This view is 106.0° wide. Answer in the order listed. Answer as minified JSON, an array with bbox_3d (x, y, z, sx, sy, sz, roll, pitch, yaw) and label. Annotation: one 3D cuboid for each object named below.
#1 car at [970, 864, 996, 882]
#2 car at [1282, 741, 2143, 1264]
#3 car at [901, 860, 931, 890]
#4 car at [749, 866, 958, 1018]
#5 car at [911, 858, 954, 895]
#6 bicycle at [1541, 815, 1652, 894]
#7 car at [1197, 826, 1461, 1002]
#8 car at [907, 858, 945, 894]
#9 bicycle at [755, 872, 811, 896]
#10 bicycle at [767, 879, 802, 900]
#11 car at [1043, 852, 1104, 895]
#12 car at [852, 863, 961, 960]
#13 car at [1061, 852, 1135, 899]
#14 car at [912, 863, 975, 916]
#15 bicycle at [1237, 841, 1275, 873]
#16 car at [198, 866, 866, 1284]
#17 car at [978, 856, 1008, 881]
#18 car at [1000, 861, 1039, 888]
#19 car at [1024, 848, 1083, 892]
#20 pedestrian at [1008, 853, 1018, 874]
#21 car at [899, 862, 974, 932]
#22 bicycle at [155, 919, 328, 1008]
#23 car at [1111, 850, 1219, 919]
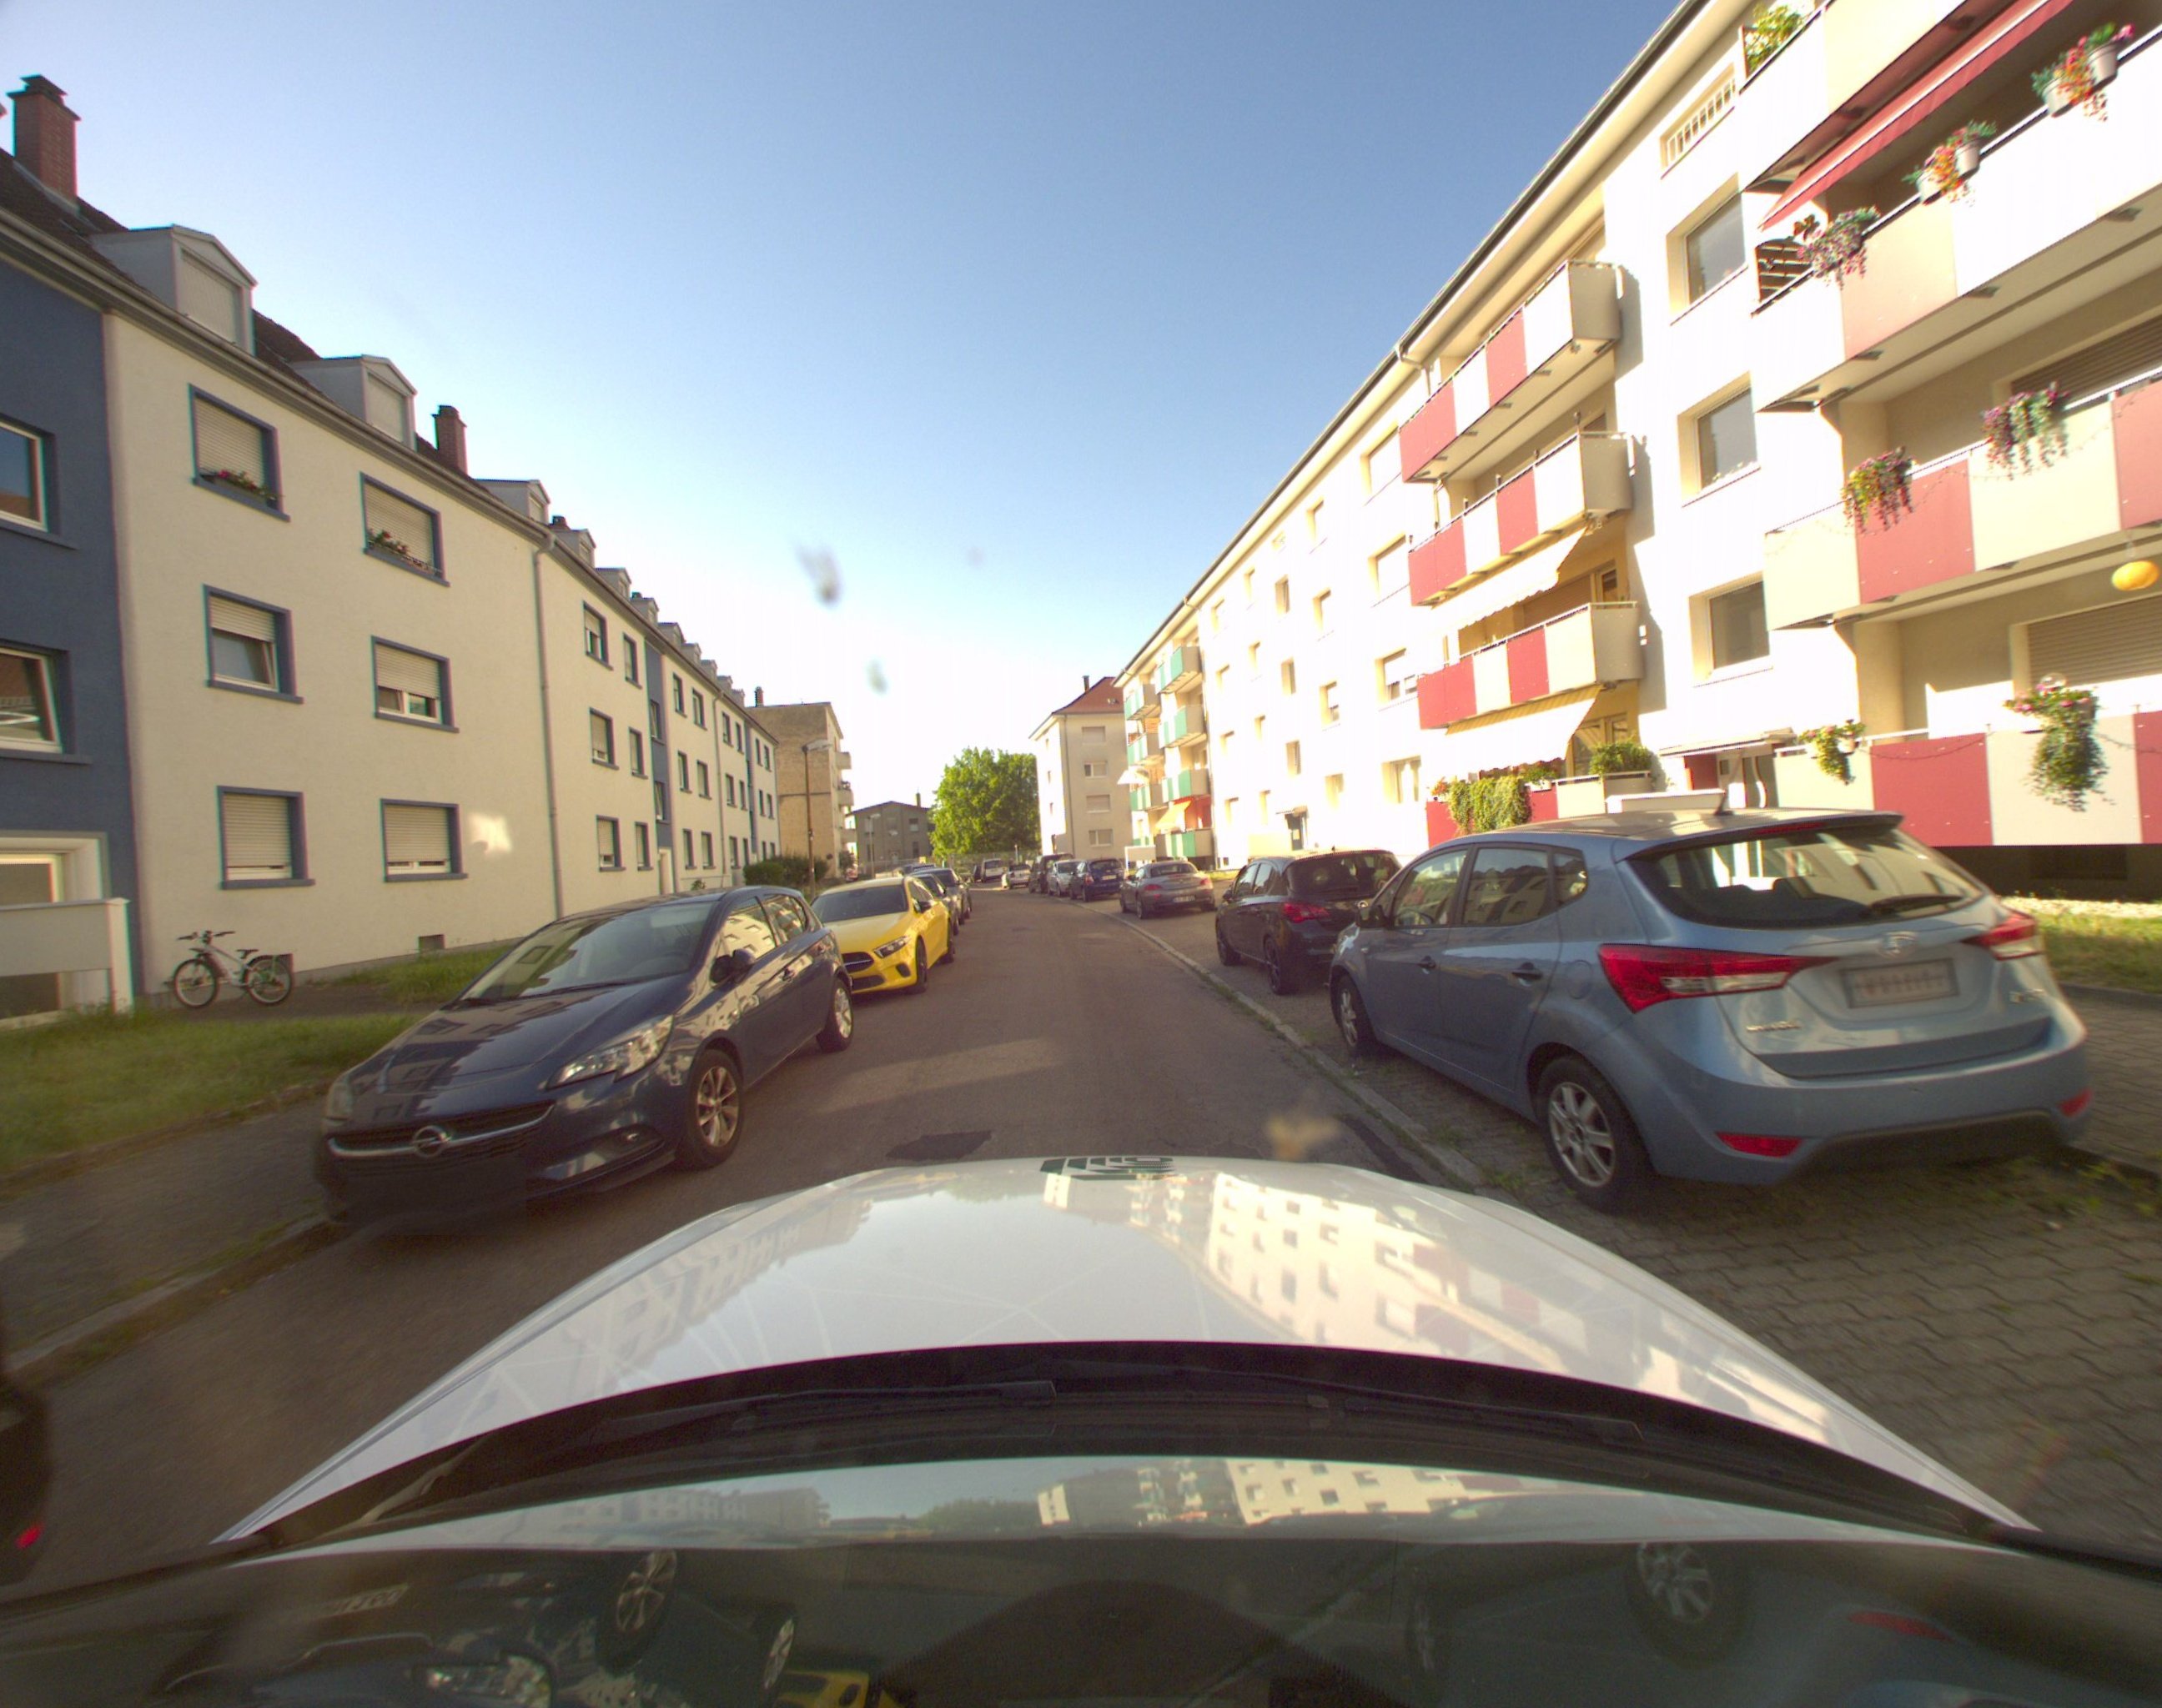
[{"bbox_3d":[-8.512,1.620,70.438,1.767,1.362,4.076,-6,0,-13],"label":"car"},{"bbox_3d":[2.709,0.525,4.842,1.761,1.635,4.037,-5,-1,-2],"label":"car"},{"bbox_3d":[-12.768,1.595,62.920,1.996,2.013,4.434,-6,0,-13],"label":"car"},{"bbox_3d":[-2.796,0.996,10.991,1.690,1.389,4.152,-5,1,-3],"label":"car"},{"bbox_3d":[-6.937,1.028,37.761,1.660,1.443,3.854,-6,0,-13],"label":"car"},{"bbox_3d":[8.206,0.014,13.066,0.407,1.150,1.758,-6,0,-6],"label":"bicycle"},{"bbox_3d":[2.709,0.576,9.901,1.731,1.508,3.881,-7,0,-3],"label":"car"},{"bbox_3d":[-9.133,1.307,47.722,1.899,1.855,4.176,-5,-1,-13],"label":"car"},{"bbox_3d":[-15.558,1.549,42.611,2.677,1.130,0.768,-2,0,-20],"label":"bicycle"},{"bbox_3d":[-16.427,1.967,45.122,1.648,0.936,0.545,-6,0,-11],"label":"bicycle"},{"bbox_3d":[-0.388,0.792,34.334,1.683,1.587,3.995,-5,0,-12],"label":"car"},{"bbox_3d":[-3.353,1.018,16.341,1.567,1.464,4.253,-6,1,-6],"label":"car"},{"bbox_3d":[0.528,0.759,29.751,1.738,1.431,4.340,-6,0,-11],"label":"car"},{"bbox_3d":[-4.504,1.103,27.188,1.743,1.431,4.586,-7,0,-8],"label":"car"},{"bbox_3d":[6.408,0.099,29.960,0.649,1.068,1.727,-9,2,-9],"label":"bicycle"},{"bbox_3d":[-2.791,0.937,5.397,1.690,1.444,4.016,-6,1,-3],"label":"car"},{"bbox_3d":[-7.063,1.170,65.253,1.767,1.739,4.076,-6,0,-13],"label":"car"},{"bbox_3d":[-3.814,1.218,49.627,1.719,1.364,4.037,-6,1,-12],"label":"car"},{"bbox_3d":[-1.394,0.793,39.389,1.899,1.855,4.322,-5,-1,-14],"label":"car"},{"bbox_3d":[-5.981,0.816,71.909,0.653,1.815,0.613,-6,0,-3],"label":"pedestrian"},{"bbox_3d":[-3.763,1.068,21.737,1.476,1.477,3.625,-8,0,-5],"label":"car"},{"bbox_3d":[-11.222,1.452,10.909,1.811,1.078,0.569,-2,0,5],"label":"bicycle"},{"bbox_3d":[1.980,0.683,20.526,1.684,1.363,4.229,-7,1,-7],"label":"car"}]
